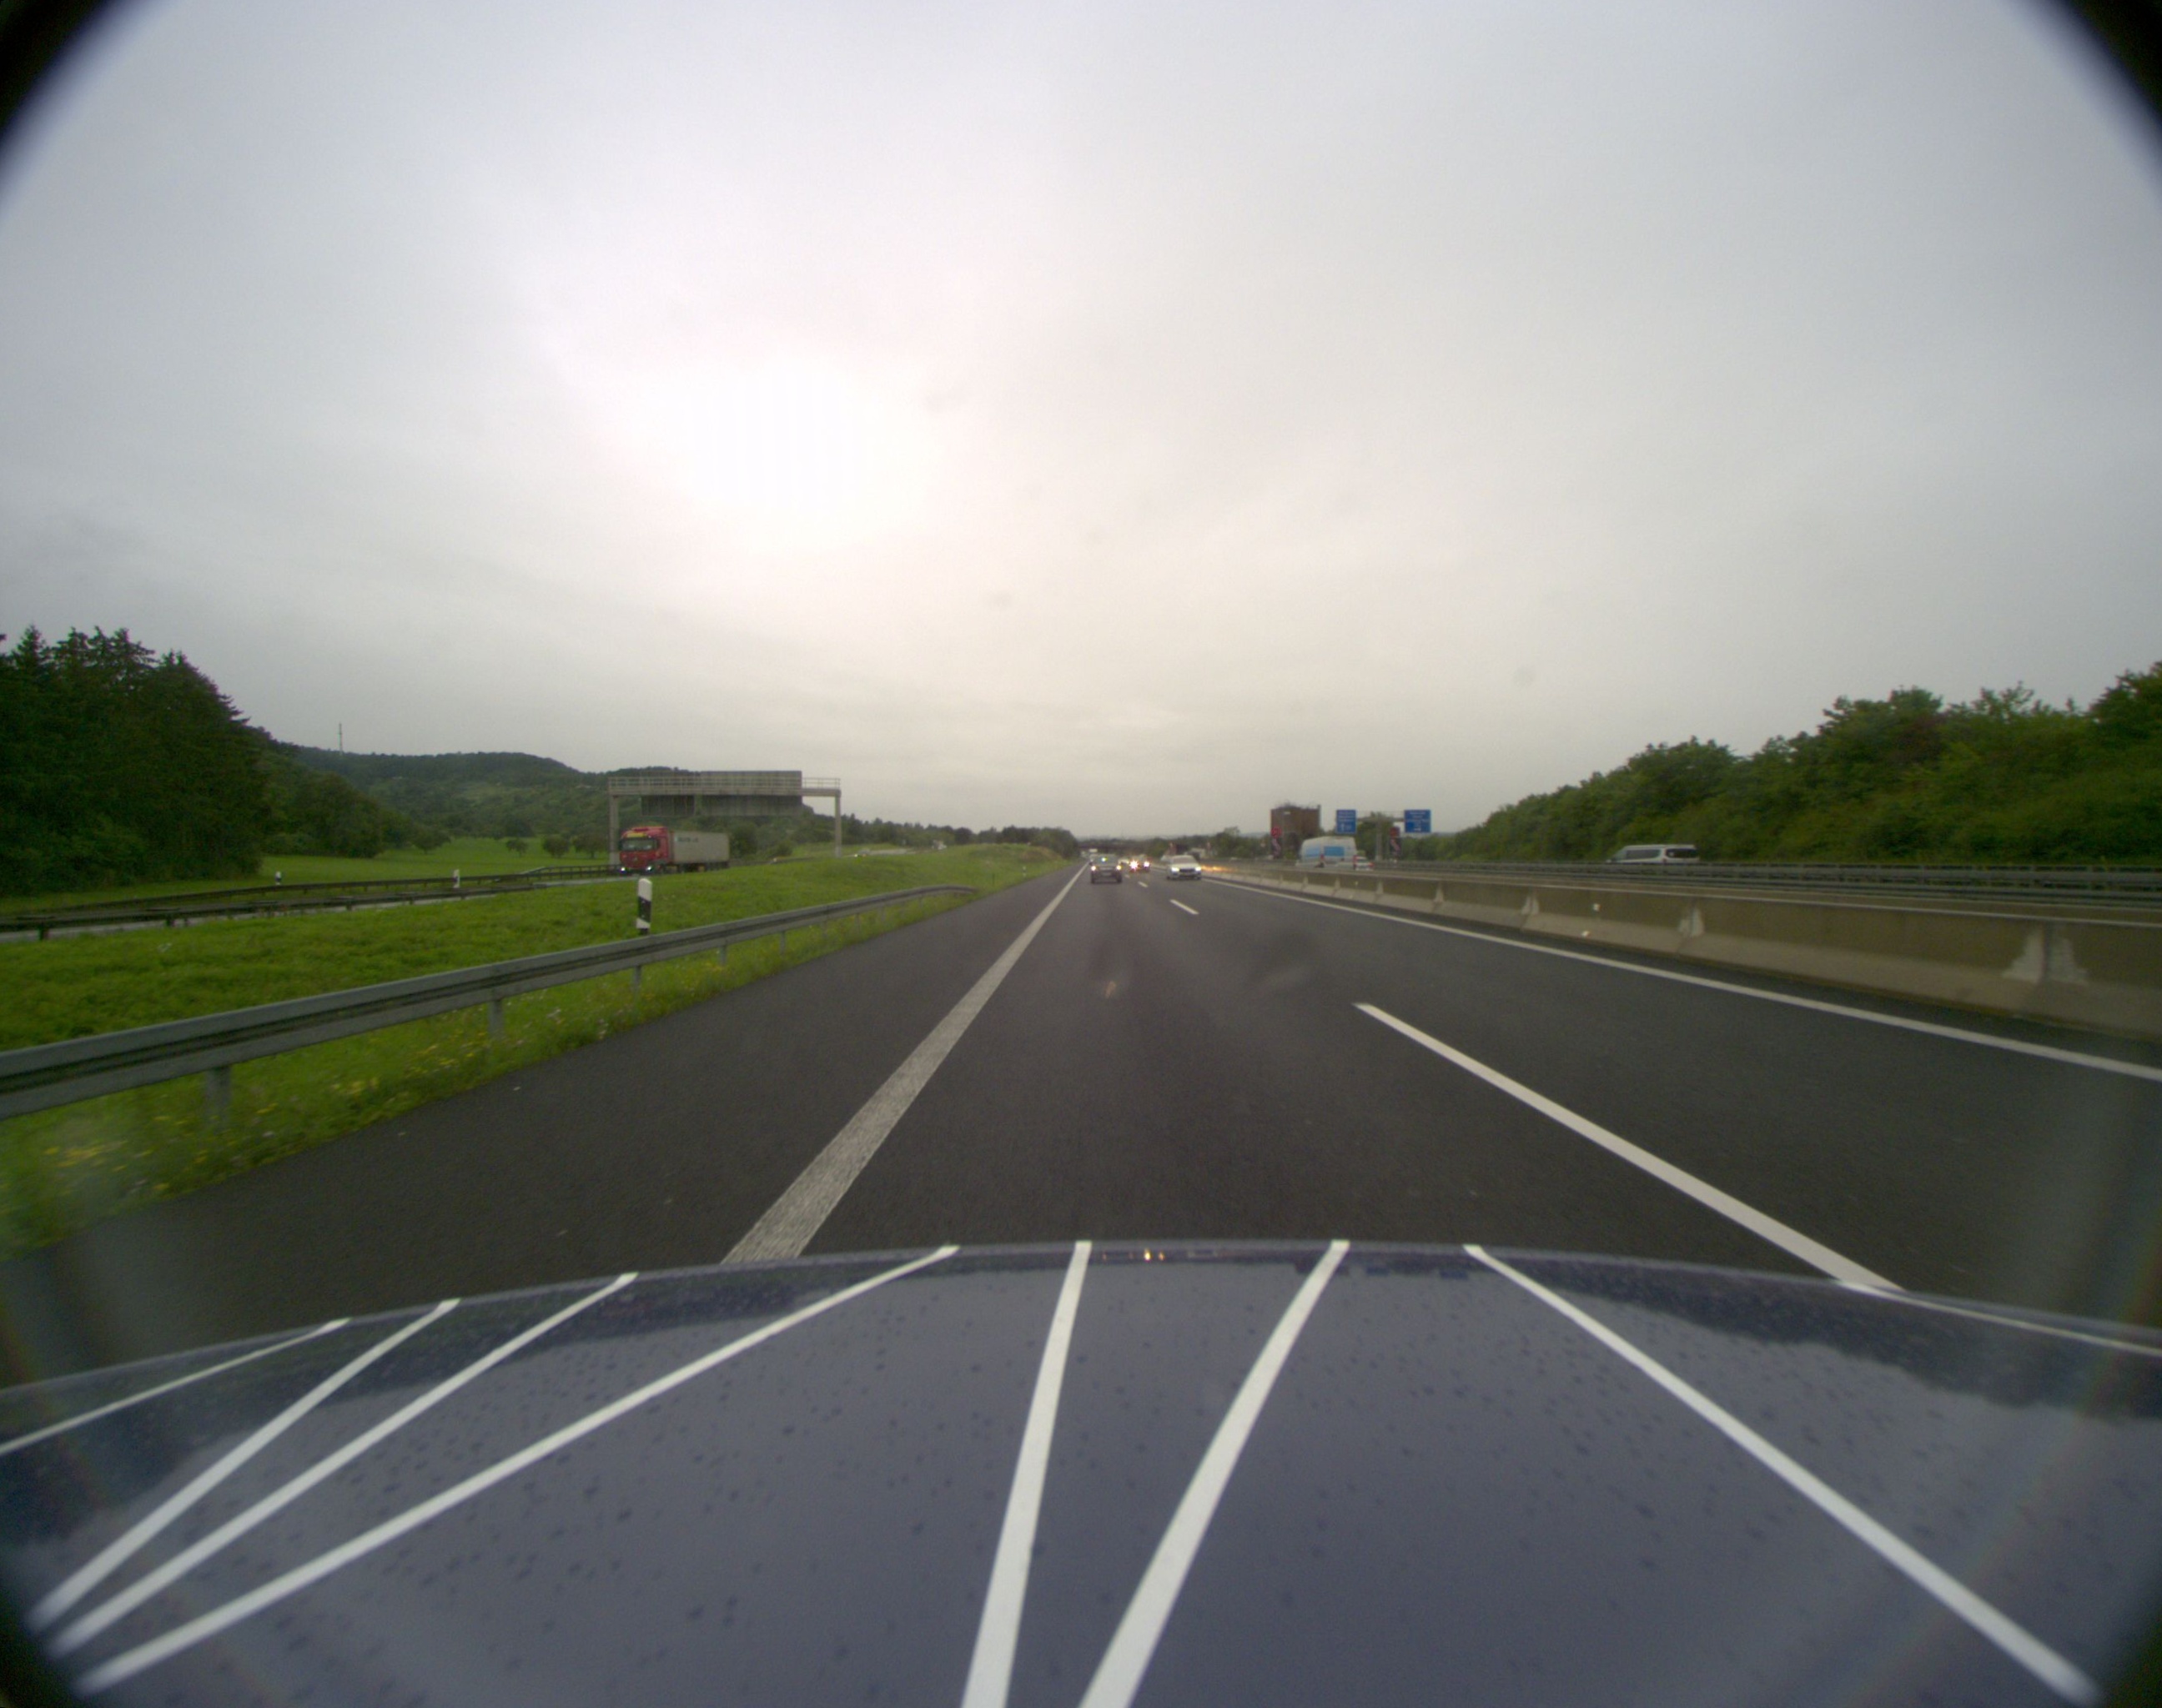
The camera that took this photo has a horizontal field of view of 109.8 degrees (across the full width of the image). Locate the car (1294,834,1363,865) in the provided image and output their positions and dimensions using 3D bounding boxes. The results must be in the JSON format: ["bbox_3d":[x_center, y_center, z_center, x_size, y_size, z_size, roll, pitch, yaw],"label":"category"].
[{"bbox_3d":[14.637,-0.280,45.363,2.363,1.683,5.907,-1,0,2],"label":"car"}]

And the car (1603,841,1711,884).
[{"bbox_3d":[29.589,0.403,39.237,1.998,2.002,4.715,-2,0,0],"label":"car"}]

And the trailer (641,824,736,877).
[{"bbox_3d":[-32.970,-0.307,64.663,2.498,3.961,12.398,-3,0,-5],"label":"trailer"}]

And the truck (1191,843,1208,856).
[{"bbox_3d":[38.162,-1.339,244.517,3.185,3.786,17.136,-2,0,2],"label":"truck"}]

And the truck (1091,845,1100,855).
[{"bbox_3d":[4.575,-1.288,245.447,2.728,3.098,7.960,-3,0,1],"label":"truck"}]

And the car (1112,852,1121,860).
[{"bbox_3d":[7.917,0.400,170.417,1.998,1.565,4.000,-2,0,1],"label":"car"}]

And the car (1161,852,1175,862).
[{"bbox_3d":[16.102,0.528,140.733,2.161,1.755,4.961,-1,0,1],"label":"car"}]

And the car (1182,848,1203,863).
[{"bbox_3d":[14.648,0.221,99.852,1.999,1.825,4.679,-2,0,0],"label":"car"}]

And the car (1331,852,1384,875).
[{"bbox_3d":[18.863,0.638,52.057,1.998,1.427,4.679,-2,0,1],"label":"car"}]

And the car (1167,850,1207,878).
[{"bbox_3d":[6.460,0.587,46.880,1.998,1.582,4.817,-2,0,3],"label":"car"}]

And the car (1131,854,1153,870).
[{"bbox_3d":[5.582,0.700,70.248,1.834,1.417,4.368,-2,0,2],"label":"car"}]

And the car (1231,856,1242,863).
[{"bbox_3d":[32.538,1.046,158.966,1.526,1.390,4.000,-2,0,1],"label":"car"}]

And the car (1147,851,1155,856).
[{"bbox_3d":[21.556,-0.081,234.084,1.728,1.543,4.582,-2,0,0],"label":"car"}]

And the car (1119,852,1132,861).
[{"bbox_3d":[7.518,0.355,127.995,1.942,1.341,4.000,-3,0,1],"label":"car"}]

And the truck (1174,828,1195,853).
[{"bbox_3d":[20.996,-2.673,154.889,3.408,4.705,10.487,-2,0,3],"label":"truck"}]

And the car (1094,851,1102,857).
[{"bbox_3d":[4.136,0.079,185.685,1.941,1.341,4.000,-3,0,1],"label":"car"}]

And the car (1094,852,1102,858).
[{"bbox_3d":[4.028,0.192,179.485,1.941,1.341,4.000,-3,0,1],"label":"car"}]

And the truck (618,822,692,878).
[{"bbox_3d":[-32.380,-0.297,58.067,2.515,3.964,5.925,-3,1,-5],"label":"truck"}]

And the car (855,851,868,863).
[{"bbox_3d":[-38.547,0.534,133.459,1.653,2.002,3.997,-1,0,-7],"label":"car"}]

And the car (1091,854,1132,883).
[{"bbox_3d":[1.779,0.790,44.402,2.242,1.565,4.817,-1,0,3],"label":"car"}]

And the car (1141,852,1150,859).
[{"bbox_3d":[17.666,0.330,208.376,1.998,1.852,5.220,0,0,0],"label":"car"}]
